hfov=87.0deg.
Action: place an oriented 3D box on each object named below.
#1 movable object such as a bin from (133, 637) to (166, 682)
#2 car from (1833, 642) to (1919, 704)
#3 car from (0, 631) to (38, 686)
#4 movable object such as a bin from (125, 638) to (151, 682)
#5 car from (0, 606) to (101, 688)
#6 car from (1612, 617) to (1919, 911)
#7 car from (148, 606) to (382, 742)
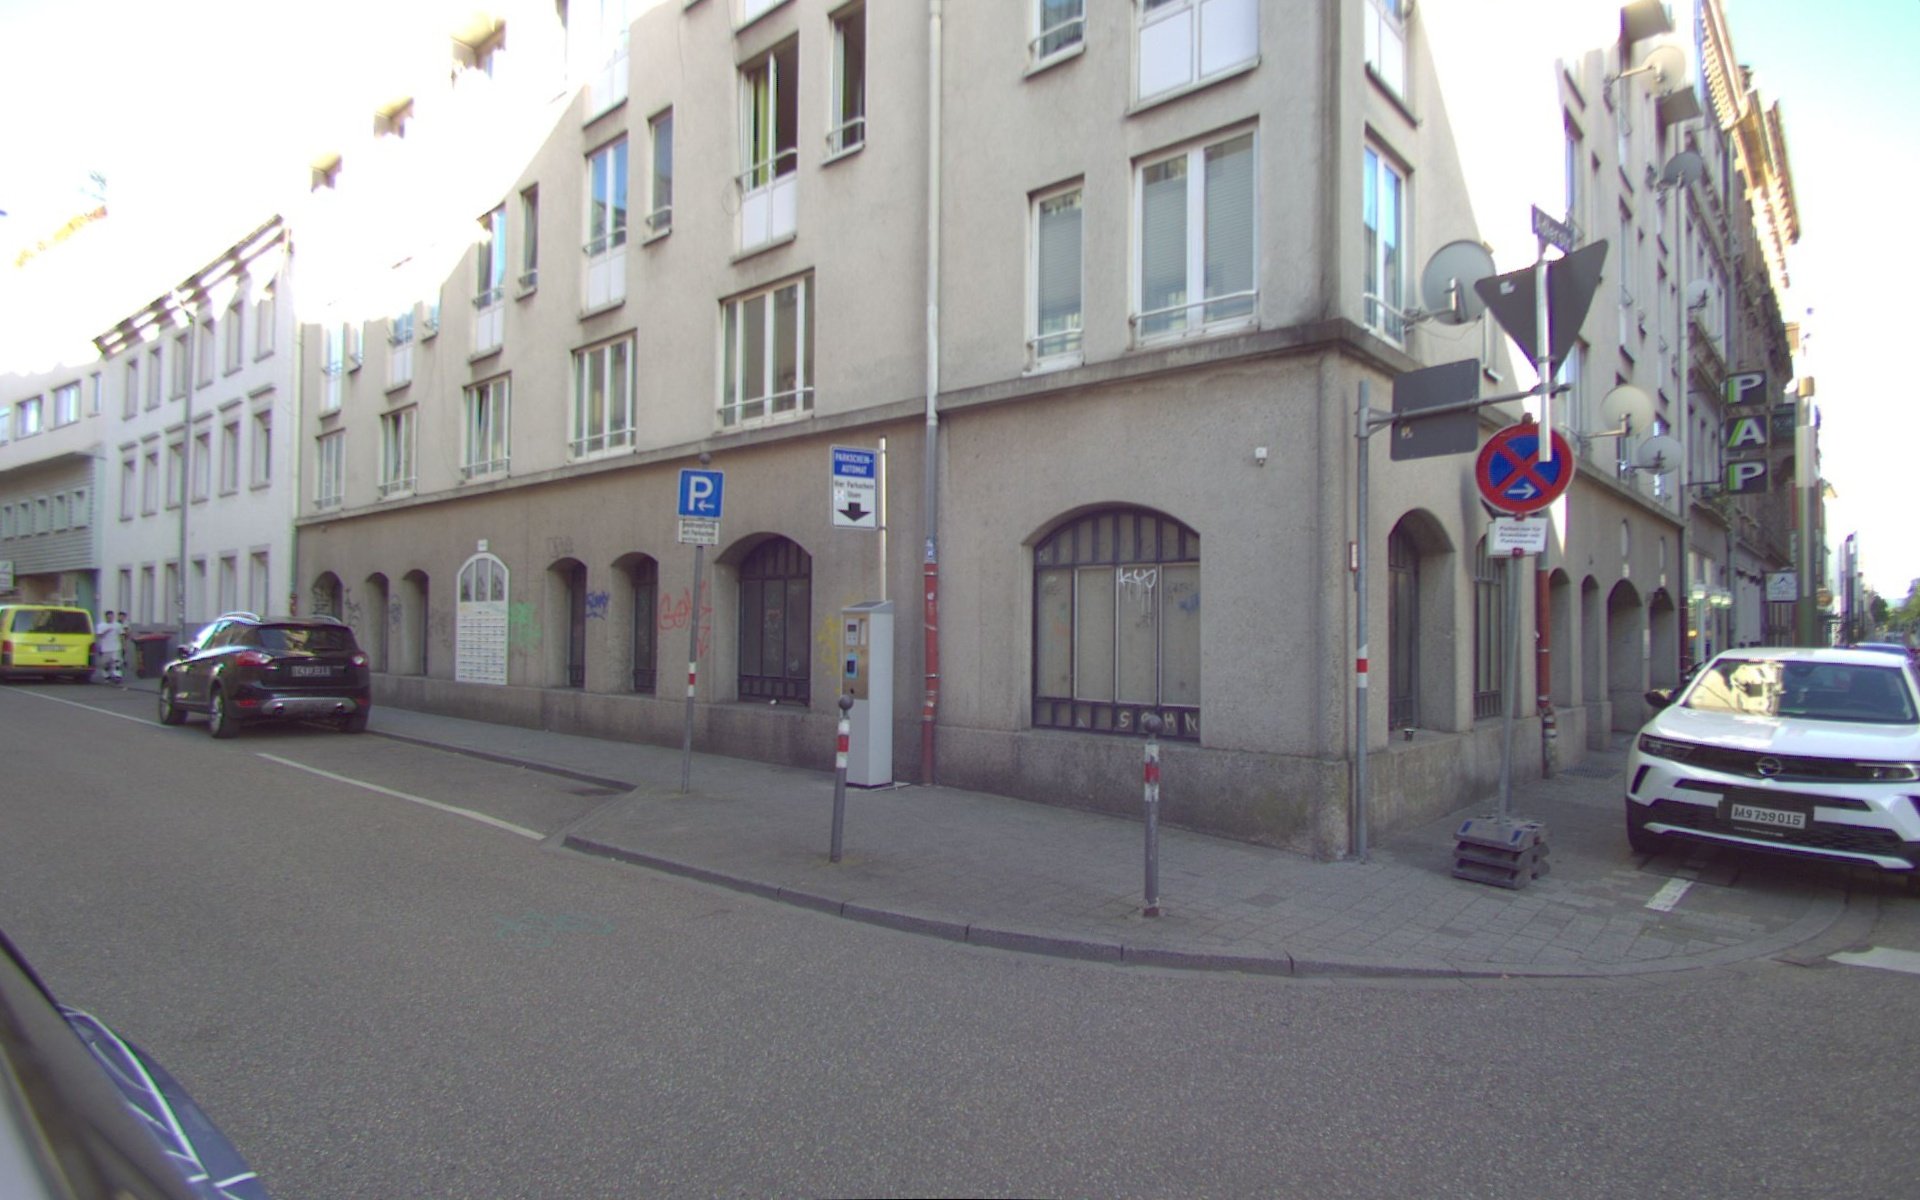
[{"bbox_3d":[-20.484,1.508,25.583,0.433,1.113,0.535,-1,-3,38],"label":"movable object such as a bin"},{"bbox_3d":[23.357,1.799,25.544,3.529,1.453,1.683,3,-3,-44],"label":"car"},{"bbox_3d":[-28.033,1.620,28.736,4.066,1.497,1.803,-1,-5,35],"label":"car"},{"bbox_3d":[-21.128,1.546,26.021,0.433,1.113,0.406,-1,-3,39],"label":"movable object such as a bin"},{"bbox_3d":[-23.486,1.166,25.352,4.855,1.881,1.863,-1,-5,37],"label":"car"},{"bbox_3d":[6.516,1.007,7.557,3.938,1.668,1.766,2,-3,-42],"label":"car"},{"bbox_3d":[-10.300,1.037,14.890,4.188,1.724,1.722,-1,-5,41],"label":"car"}]
